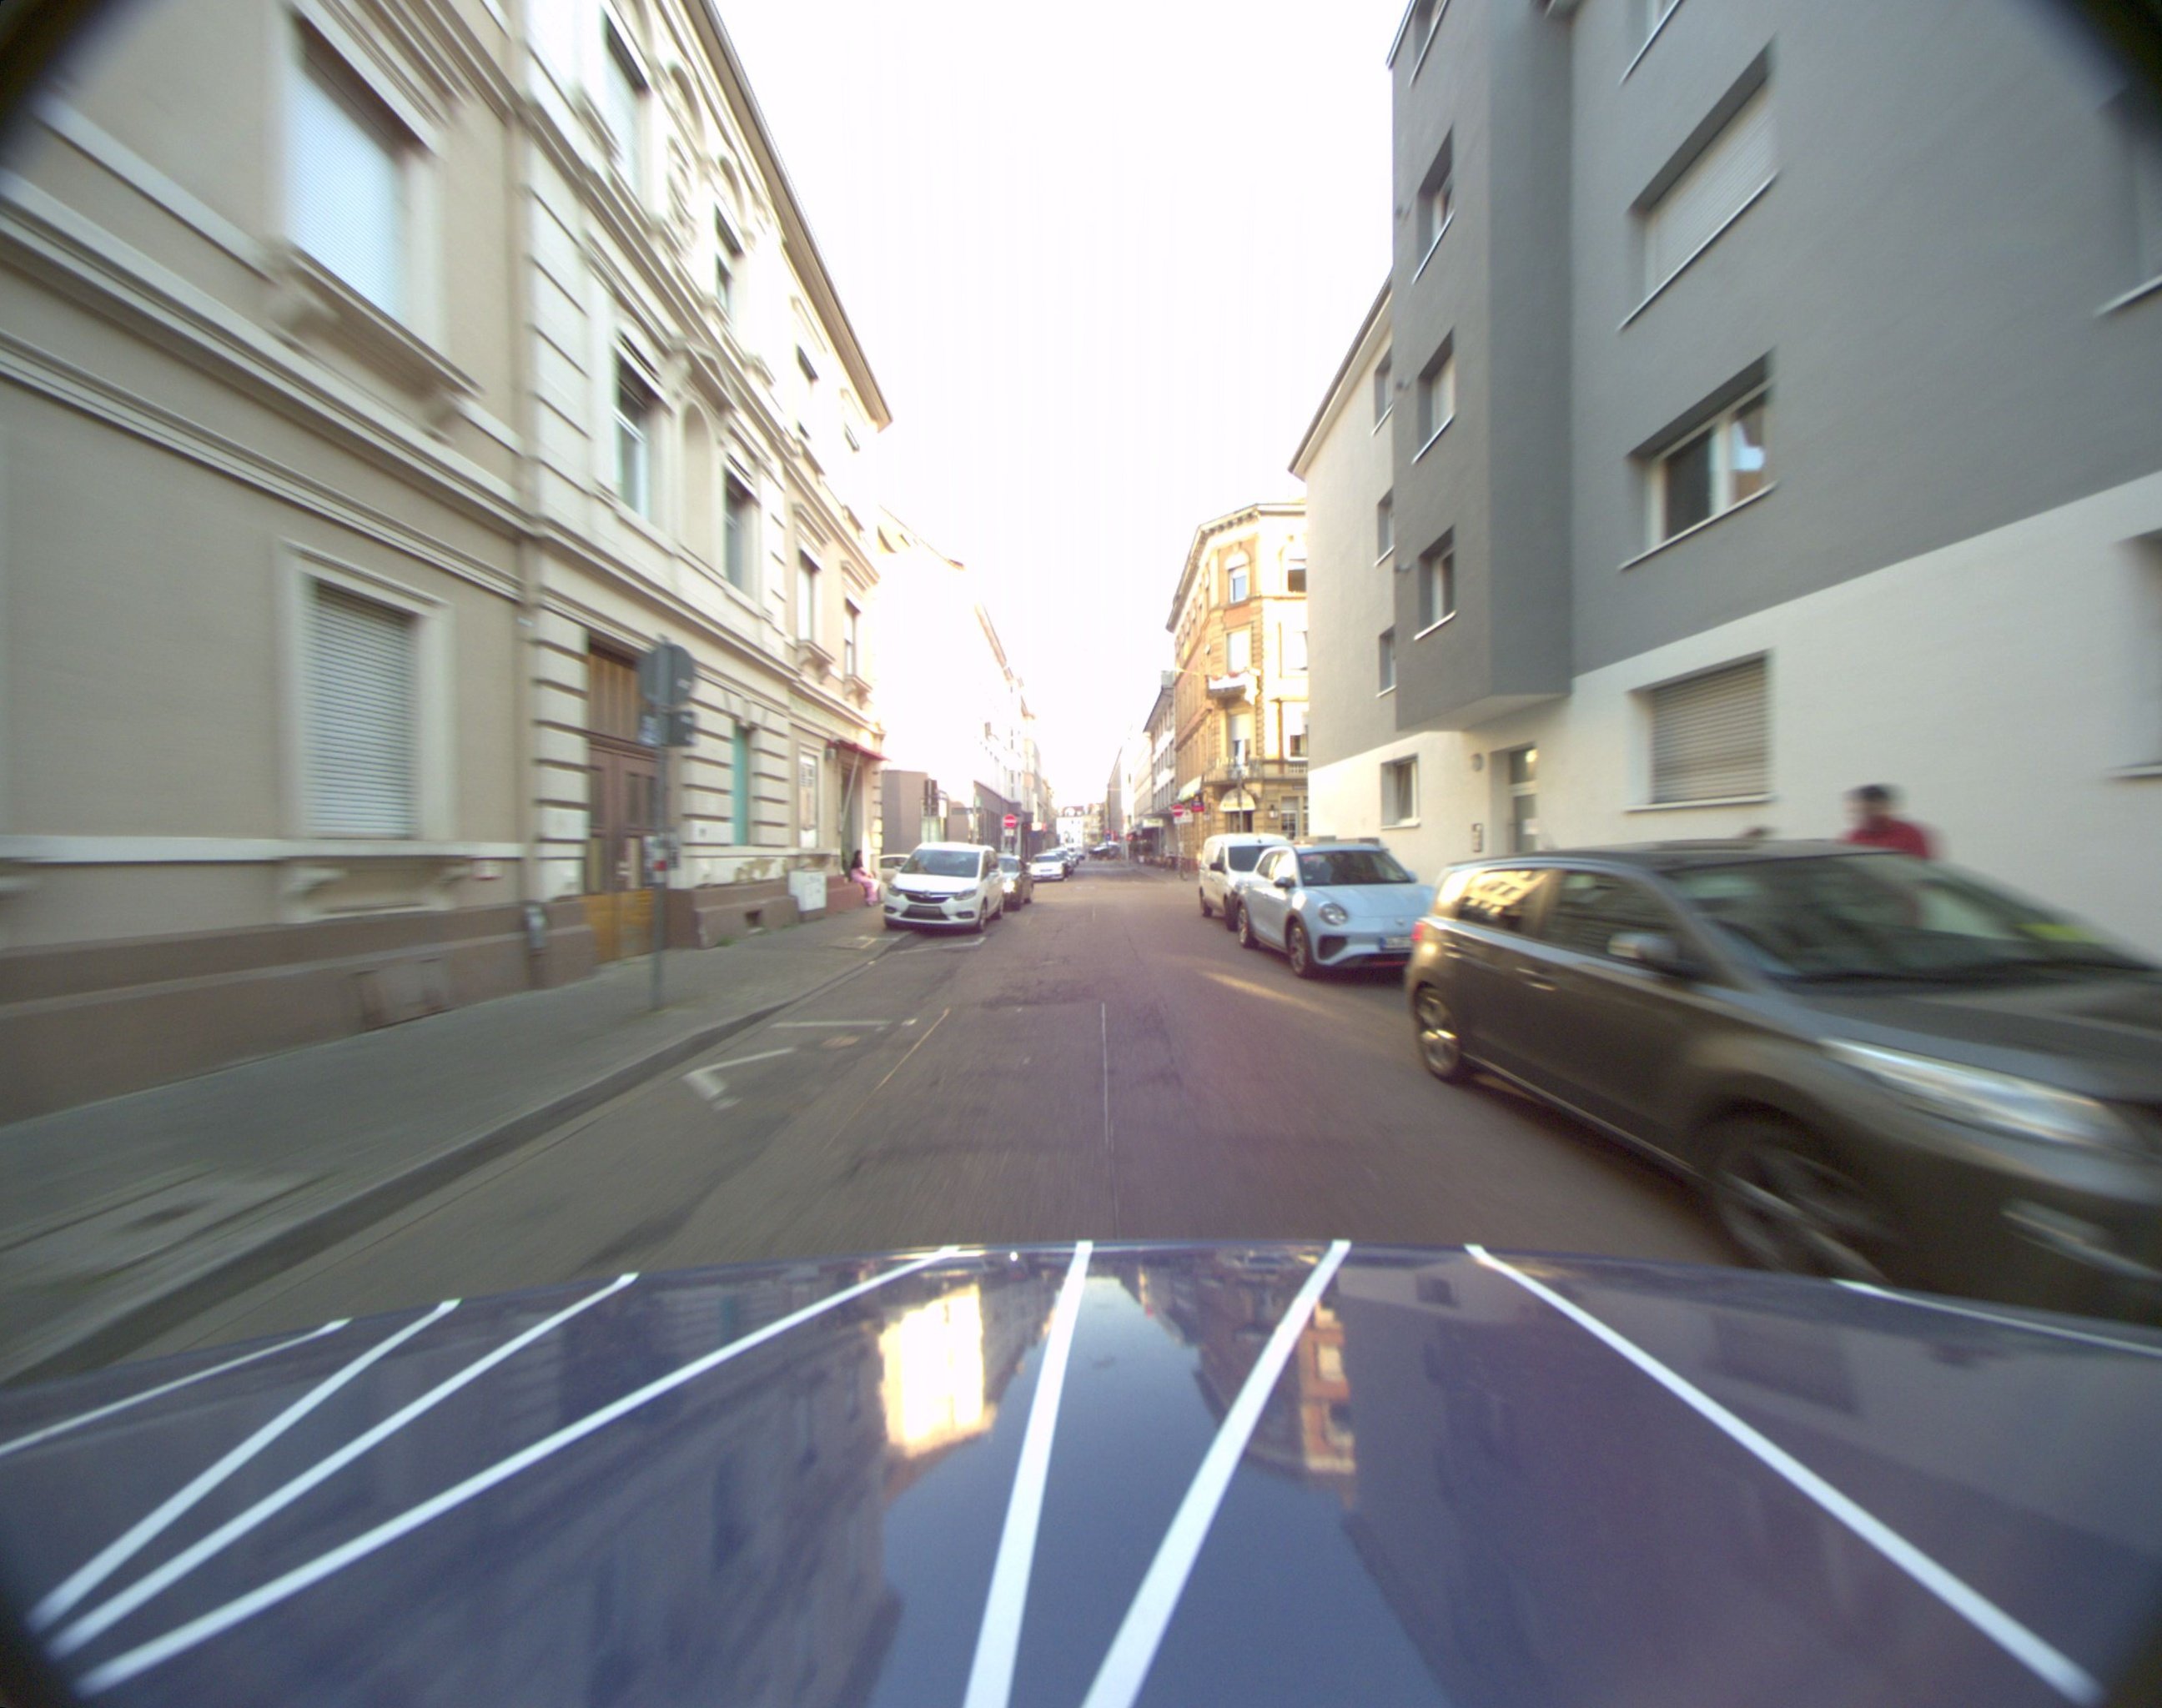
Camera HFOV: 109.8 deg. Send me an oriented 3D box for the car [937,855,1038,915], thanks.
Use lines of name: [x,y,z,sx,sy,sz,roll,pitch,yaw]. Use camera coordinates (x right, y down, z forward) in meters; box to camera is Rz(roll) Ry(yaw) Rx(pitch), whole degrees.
car: [-2.395,0.748,20.746,1.888,1.400,4.730,-1,0,3]

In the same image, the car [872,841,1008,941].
car: [-2.646,0.632,15.342,1.821,1.713,4.461,-1,0,1]

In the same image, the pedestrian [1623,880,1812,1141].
pedestrian: [3.860,0.880,4.630,0.663,1.402,0.671,-1,1,-27]

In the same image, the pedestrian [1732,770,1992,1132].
pedestrian: [4.701,0.530,4.628,0.800,2.002,0.775,-1,1,-9]

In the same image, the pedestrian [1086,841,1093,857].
pedestrian: [1.383,-0.884,124.201,1.247,2.599,1.467,-1,1,0]

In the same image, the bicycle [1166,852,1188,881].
bicycle: [4.514,0.569,35.861,0.660,1.268,1.763,-4,1,-3]

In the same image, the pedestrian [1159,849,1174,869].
pedestrian: [5.876,0.352,52.398,0.836,1.332,0.806,0,1,21]

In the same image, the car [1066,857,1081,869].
car: [-0.739,0.883,76.115,1.514,1.053,3.466,-1,0,0]

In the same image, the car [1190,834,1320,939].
car: [3.325,0.564,15.298,1.635,1.803,4.185,-1,0,0]

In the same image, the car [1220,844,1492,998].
car: [3.247,0.702,10.012,1.768,1.554,4.365,-1,0,-4]

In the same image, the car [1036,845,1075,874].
car: [-1.592,0.331,49.757,2.335,1.734,4.487,-1,0,1]

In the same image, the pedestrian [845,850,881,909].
pedestrian: [-5.515,0.625,19.226,0.716,1.463,0.580,-1,1,1]

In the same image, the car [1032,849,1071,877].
car: [-1.680,0.480,44.013,2.013,1.516,4.117,-1,0,1]

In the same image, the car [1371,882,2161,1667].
car: [2.981,0.932,3.584,1.688,1.324,4.130,-1,1,1]

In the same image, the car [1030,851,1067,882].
car: [-1.595,0.583,38.450,1.755,1.394,4.487,-2,0,-1]
